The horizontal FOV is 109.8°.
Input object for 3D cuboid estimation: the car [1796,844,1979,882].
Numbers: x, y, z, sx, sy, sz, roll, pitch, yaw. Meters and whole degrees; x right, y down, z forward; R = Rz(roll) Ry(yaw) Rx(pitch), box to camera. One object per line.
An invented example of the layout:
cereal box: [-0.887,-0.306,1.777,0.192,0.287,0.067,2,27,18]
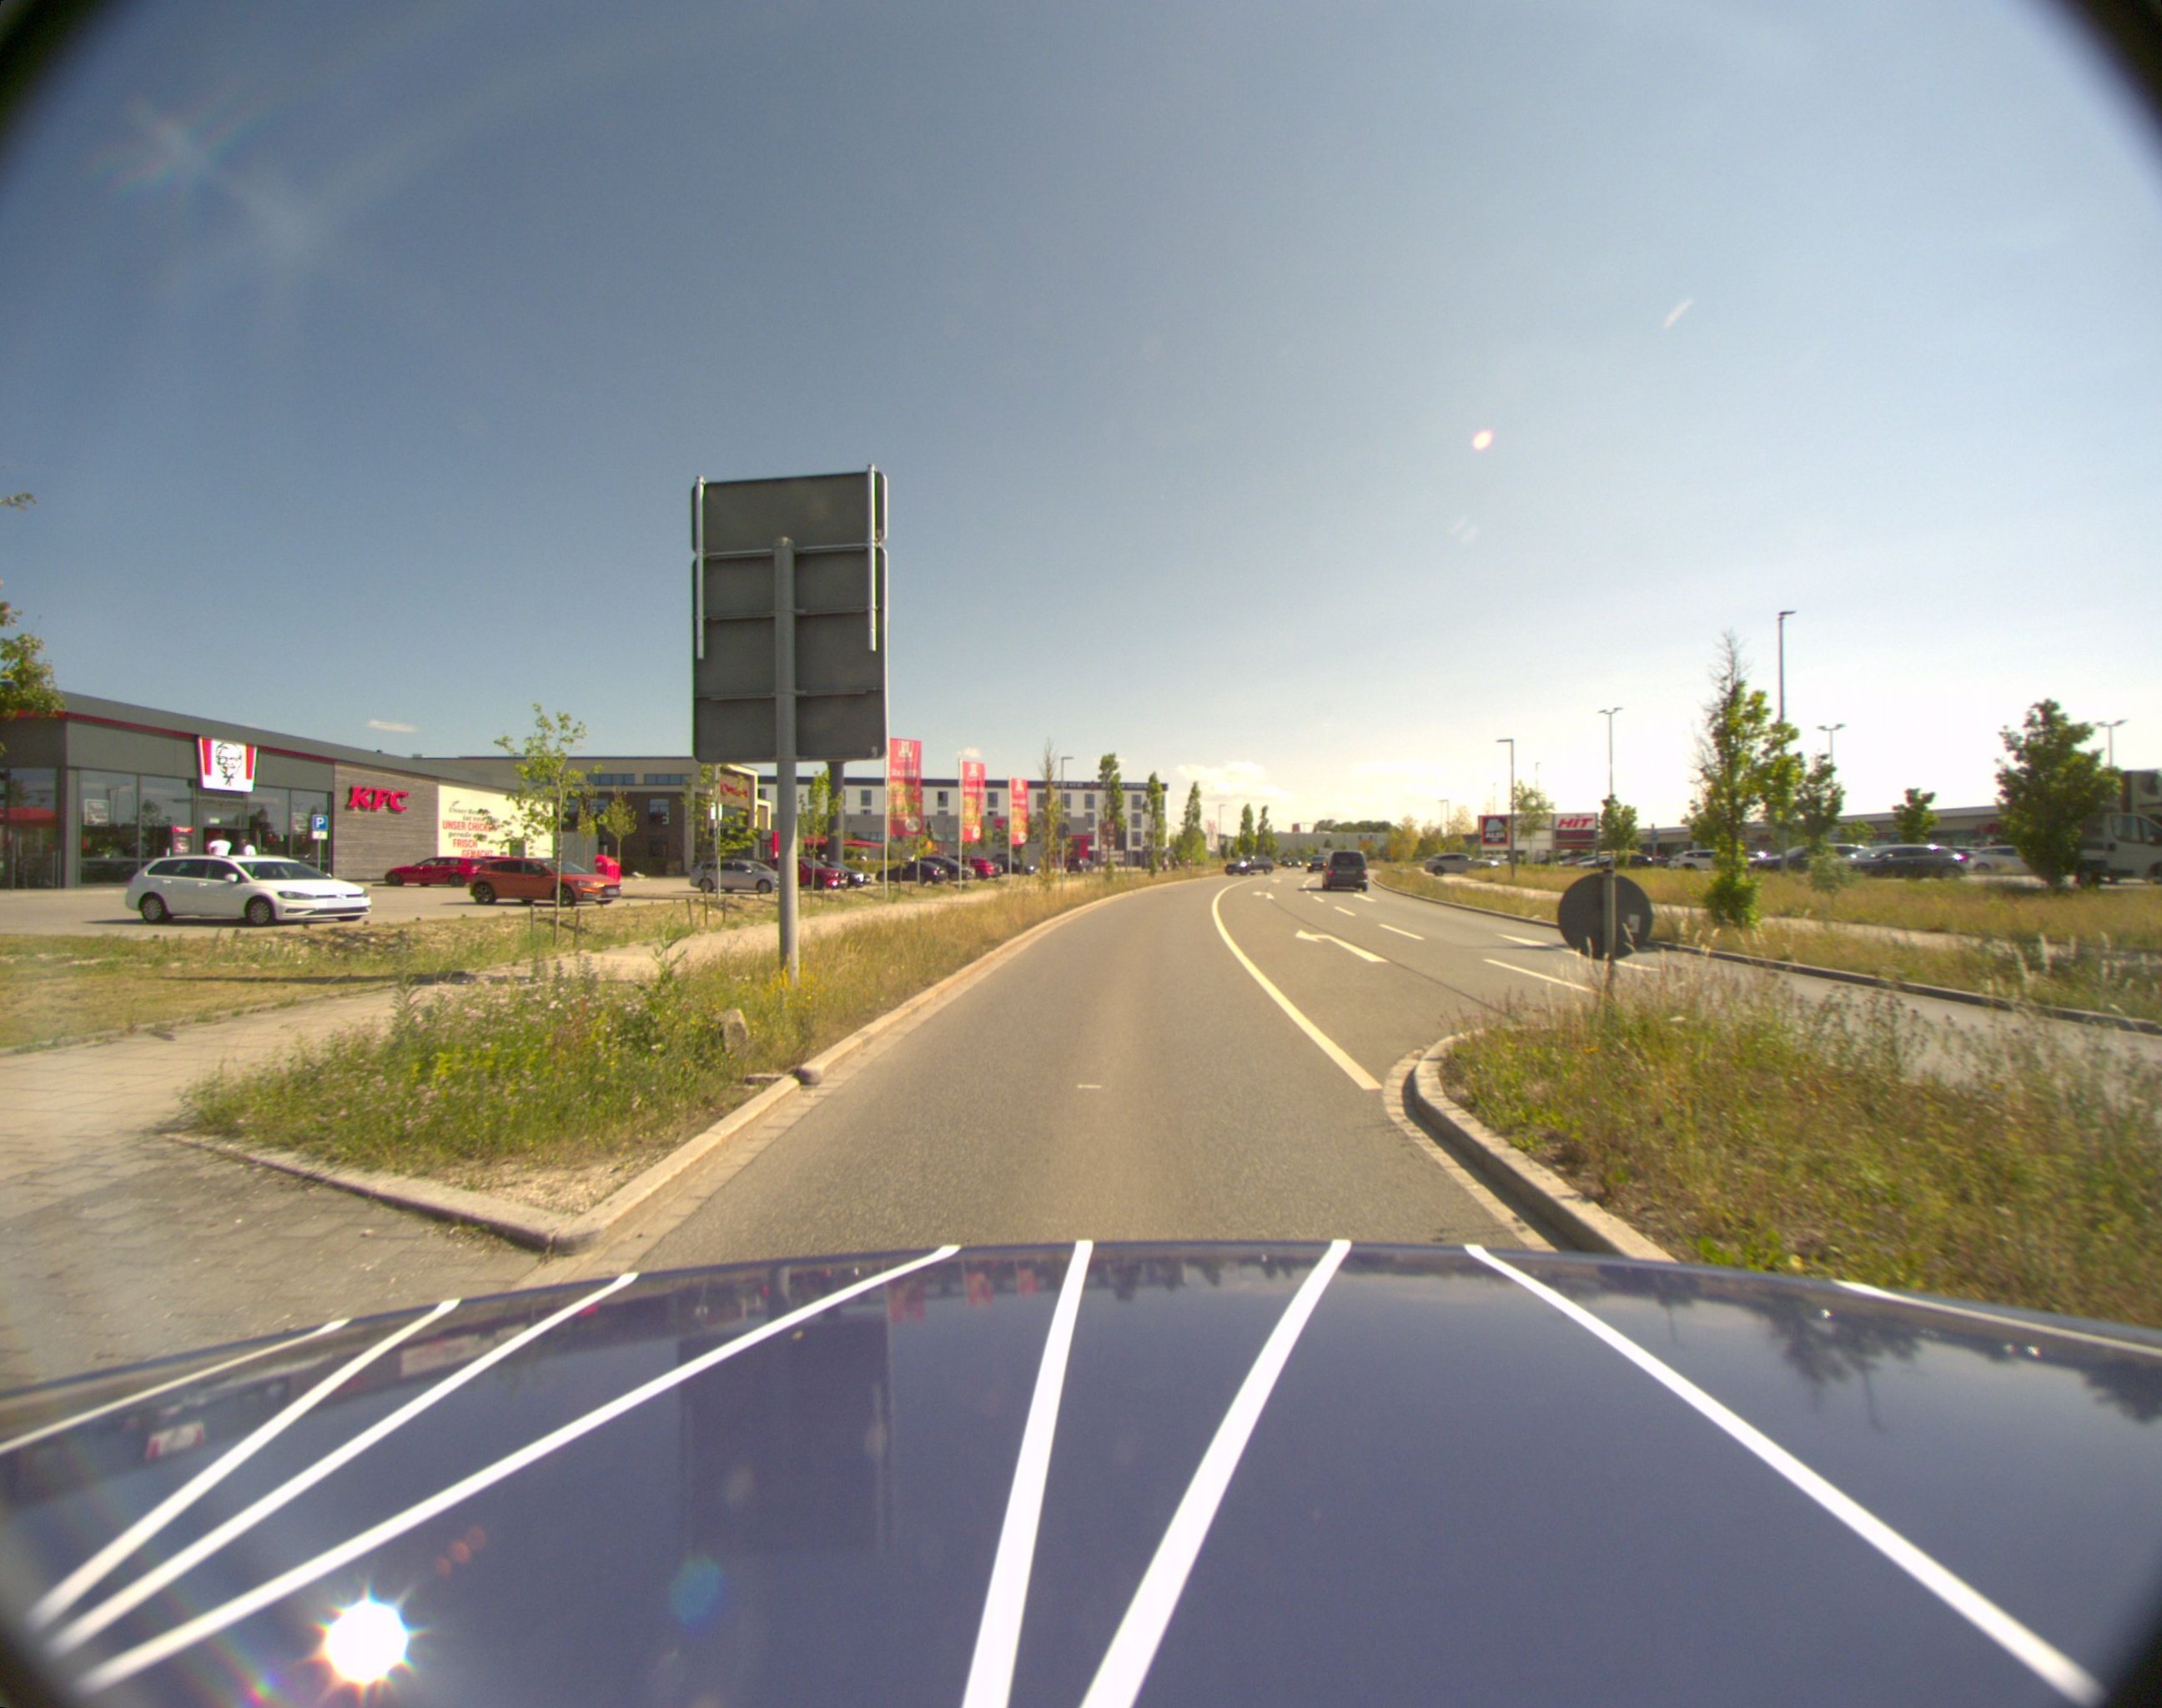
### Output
car: [30.779,0.334,29.157,4.429,1.375,1.978,0,0,16]

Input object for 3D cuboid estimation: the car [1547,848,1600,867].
car: [49.479,0.365,76.444,4.148,1.850,1.935,0,0,19]

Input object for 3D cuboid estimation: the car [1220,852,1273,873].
car: [13.920,0.731,63.900,4.475,1.669,1.897,1,-2,-38]

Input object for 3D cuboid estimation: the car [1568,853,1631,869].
car: [44.414,0.612,65.200,4.148,1.340,1.939,0,0,21]

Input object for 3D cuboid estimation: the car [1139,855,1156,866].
car: [8.509,0.785,97.231,1.515,1.399,4.005,0,0,15]

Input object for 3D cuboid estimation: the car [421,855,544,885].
car: [-29.488,0.775,37.506,4.567,1.423,1.869,1,0,0]

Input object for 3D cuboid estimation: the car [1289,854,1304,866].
car: [28.774,0.753,101.510,1.783,1.485,4.005,-1,0,18]

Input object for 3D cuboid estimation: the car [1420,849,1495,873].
car: [27.302,0.562,55.091,4.765,1.633,2.120,-2,-2,29]

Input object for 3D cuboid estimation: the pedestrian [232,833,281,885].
pedestrian: [-32.193,0.198,29.688,0.915,2.002,0.891,0,1,4]

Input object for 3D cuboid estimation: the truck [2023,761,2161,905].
truck: [28.667,-0.523,20.284,2.317,3.444,7.509,0,0,34]

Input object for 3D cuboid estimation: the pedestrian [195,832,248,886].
pedestrian: [-32.141,0.195,28.423,0.915,2.002,0.891,0,1,4]

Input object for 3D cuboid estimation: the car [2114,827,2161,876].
car: [46.246,-0.123,31.155,1.836,2.053,4.382,0,0,2]

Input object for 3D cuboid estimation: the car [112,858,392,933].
car: [-18.013,0.847,16.617,4.534,1.481,1.870,0,0,7]

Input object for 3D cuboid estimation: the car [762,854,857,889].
car: [-13.676,0.853,38.327,4.159,1.655,1.871,1,0,15]

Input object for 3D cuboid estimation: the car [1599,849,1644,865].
car: [85.011,0.437,119.461,5.715,2.572,1.940,0,0,-1]

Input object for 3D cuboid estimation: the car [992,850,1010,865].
car: [-9.969,0.419,94.281,2.049,1.805,4.920,0,0,-8]

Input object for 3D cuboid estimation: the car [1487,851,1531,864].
car: [55.480,0.506,98.638,4.596,1.662,2.002,0,0,13]

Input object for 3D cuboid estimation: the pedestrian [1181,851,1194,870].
pedestrian: [8.615,0.527,61.609,0.793,1.461,0.950,-1,0,21]

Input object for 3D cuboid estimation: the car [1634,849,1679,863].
car: [65.568,0.269,86.628,1.716,1.517,4.354,0,0,-1]

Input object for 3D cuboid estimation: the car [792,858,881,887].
car: [-13.106,0.976,40.793,4.161,1.441,1.792,1,0,9]

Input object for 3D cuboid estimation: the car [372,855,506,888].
car: [-29.396,0.766,34.890,4.567,1.423,1.869,1,0,0]

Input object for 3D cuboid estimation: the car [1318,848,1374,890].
car: [12.050,0.654,34.794,1.954,1.784,4.431,1,0,13]

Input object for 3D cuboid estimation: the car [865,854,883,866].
car: [-25.324,0.679,93.135,1.702,1.454,4.105,0,0,-10]

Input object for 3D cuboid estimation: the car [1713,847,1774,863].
car: [60.081,0.103,68.990,1.716,1.408,4.355,0,0,0]

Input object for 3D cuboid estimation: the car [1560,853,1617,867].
car: [47.920,0.580,71.821,4.148,1.340,1.939,0,0,21]

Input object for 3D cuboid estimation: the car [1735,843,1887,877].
car: [32.646,0.282,34.127,4.581,1.450,1.840,0,0,16]

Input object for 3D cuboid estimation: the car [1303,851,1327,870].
car: [21.341,0.577,69.167,1.754,1.678,4.388,0,0,21]

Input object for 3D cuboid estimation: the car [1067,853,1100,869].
car: [0.282,0.704,74.321,1.781,1.531,4.176,0,0,22]

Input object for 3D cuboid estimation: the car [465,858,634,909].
car: [-16.717,0.891,24.000,4.212,1.481,1.870,0,0,7]

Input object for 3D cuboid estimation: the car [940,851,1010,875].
car: [-8.206,0.675,58.762,4.988,1.724,1.942,1,0,16]

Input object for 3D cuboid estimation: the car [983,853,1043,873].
car: [-5.506,0.708,61.971,4.411,1.557,1.998,1,0,16]

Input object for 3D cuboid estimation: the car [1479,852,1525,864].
car: [57.351,0.575,103.543,5.190,1.662,2.001,0,0,8]

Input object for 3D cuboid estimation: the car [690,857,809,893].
car: [-14.670,0.911,33.710,4.562,1.481,1.870,1,0,11]

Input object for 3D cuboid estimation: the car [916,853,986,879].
car: [-8.962,0.805,52.374,4.410,1.724,1.794,1,0,18]

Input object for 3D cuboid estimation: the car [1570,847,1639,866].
car: [55.330,0.259,80.415,5.690,1.953,2.002,0,0,12]

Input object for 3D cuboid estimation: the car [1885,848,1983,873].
car: [56.990,0.441,50.899,1.716,1.572,4.355,0,0,0]

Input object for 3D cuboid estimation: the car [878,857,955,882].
car: [-10.372,0.952,47.886,4.411,1.441,1.794,1,0,17]

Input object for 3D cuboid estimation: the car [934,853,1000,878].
car: [-8.311,0.794,55.417,4.410,1.724,1.794,1,0,18]

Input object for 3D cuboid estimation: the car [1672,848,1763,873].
car: [40.896,0.387,48.885,1.921,1.538,4.214,-1,0,-39]

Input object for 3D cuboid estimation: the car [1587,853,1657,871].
car: [42.352,0.623,59.588,4.148,1.340,1.939,0,0,21]

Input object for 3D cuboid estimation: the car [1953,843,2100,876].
car: [46.380,0.242,37.432,1.836,1.503,4.382,0,0,2]

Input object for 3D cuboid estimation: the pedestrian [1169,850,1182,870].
pedestrian: [7.602,0.464,60.958,0.801,1.620,0.806,-1,0,21]

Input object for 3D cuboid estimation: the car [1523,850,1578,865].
car: [51.518,0.399,83.483,4.774,1.662,1.884,0,0,15]

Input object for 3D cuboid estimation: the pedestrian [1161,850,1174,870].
pedestrian: [7.014,0.473,61.759,0.810,1.619,0.867,-1,0,21]
